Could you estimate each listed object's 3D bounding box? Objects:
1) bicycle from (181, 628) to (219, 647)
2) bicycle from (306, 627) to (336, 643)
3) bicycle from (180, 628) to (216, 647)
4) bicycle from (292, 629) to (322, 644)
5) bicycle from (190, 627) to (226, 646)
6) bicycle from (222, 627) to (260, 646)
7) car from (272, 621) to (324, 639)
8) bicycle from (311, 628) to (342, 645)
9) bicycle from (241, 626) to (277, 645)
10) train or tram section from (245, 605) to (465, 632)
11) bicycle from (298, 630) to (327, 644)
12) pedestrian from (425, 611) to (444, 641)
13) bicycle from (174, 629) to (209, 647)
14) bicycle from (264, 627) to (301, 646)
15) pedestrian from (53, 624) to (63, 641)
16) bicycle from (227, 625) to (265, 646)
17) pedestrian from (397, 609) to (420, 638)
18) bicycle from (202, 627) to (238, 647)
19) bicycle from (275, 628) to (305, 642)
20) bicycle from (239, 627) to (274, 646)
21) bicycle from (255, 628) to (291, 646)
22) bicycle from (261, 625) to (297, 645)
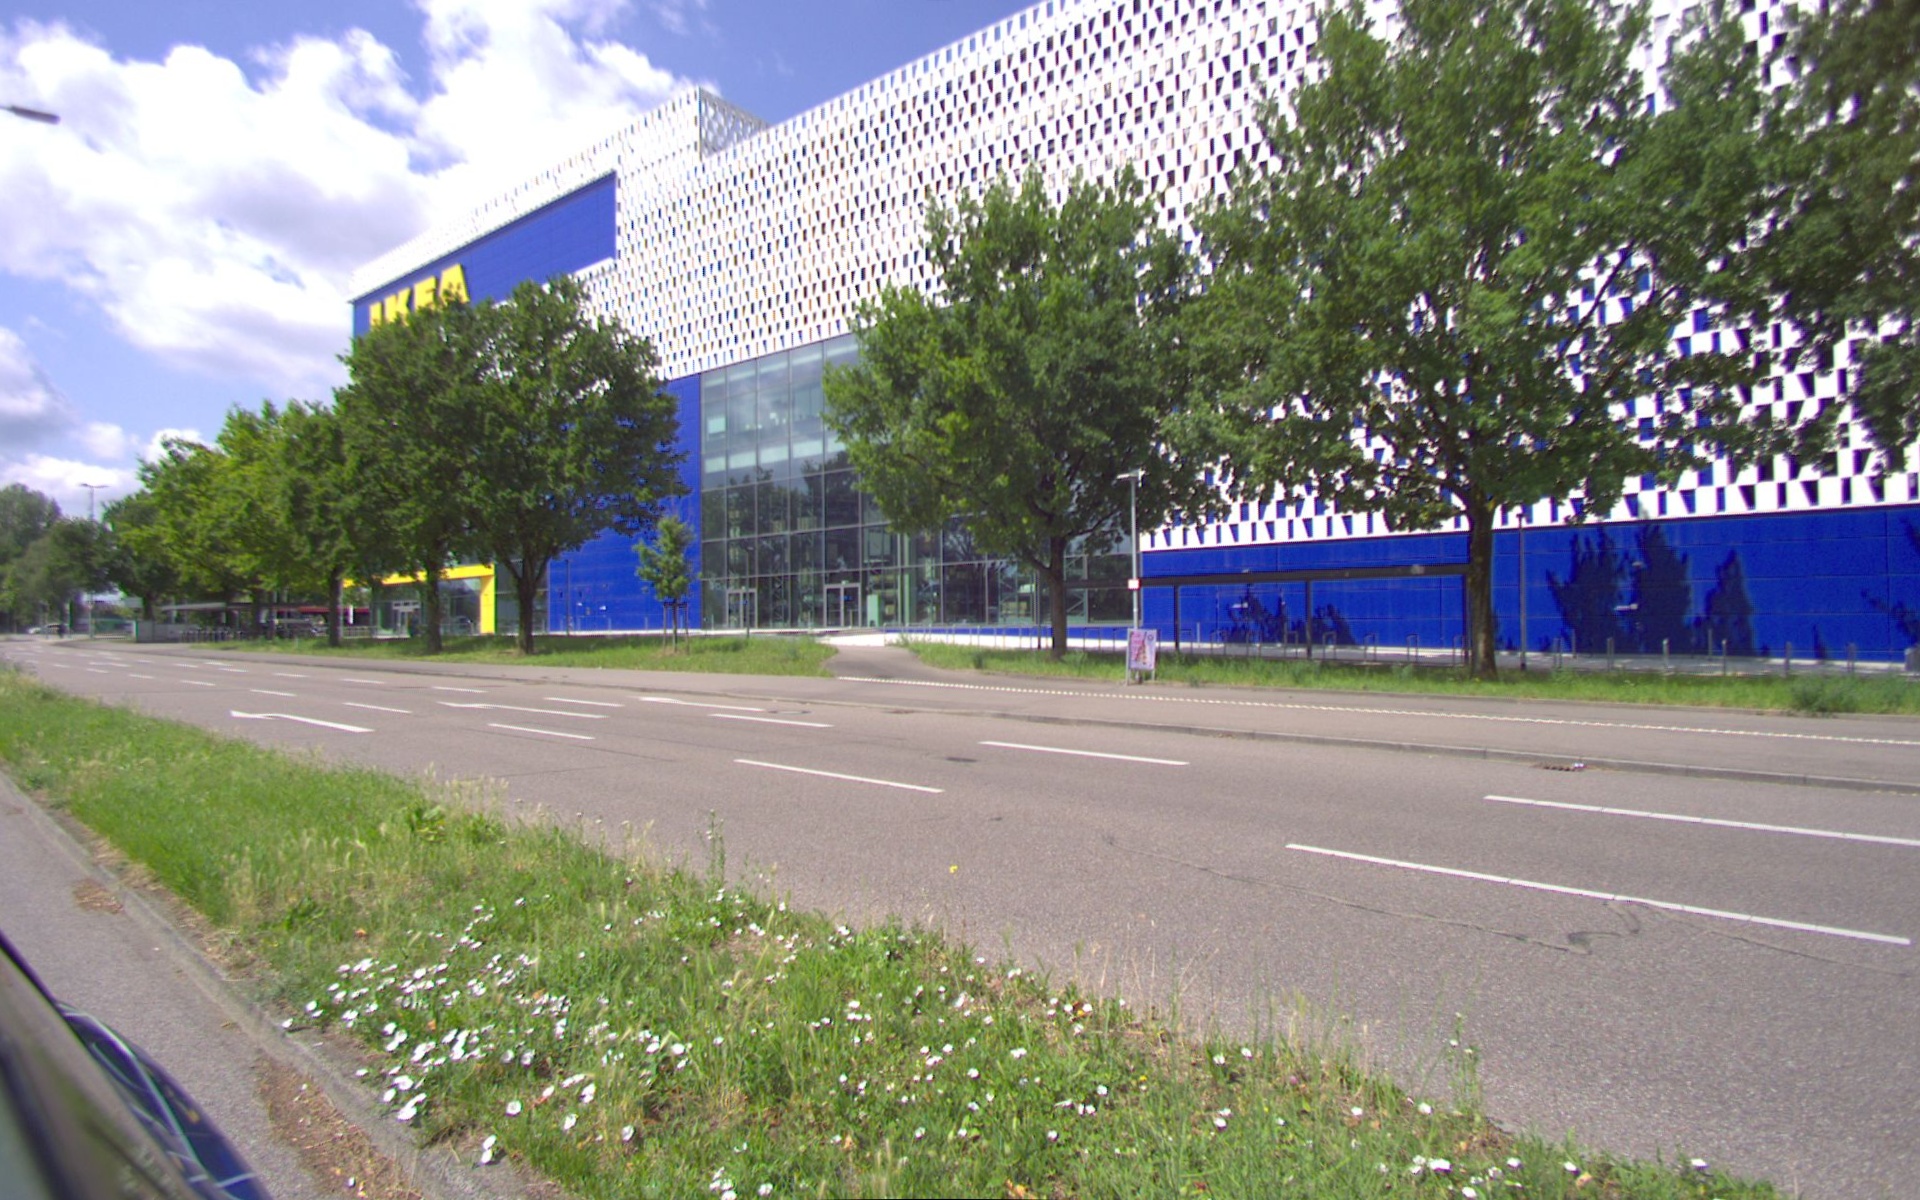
[{"bbox_3d":[-53.179,2.640,70.843,0.629,1.282,2.068,-3,-2,39],"label":"bicycle"},{"bbox_3d":[-49.544,2.716,78.478,0.528,1.219,1.917,-1,-1,35],"label":"bicycle"},{"bbox_3d":[-53.925,2.665,71.631,0.629,1.282,1.906,-3,-2,39],"label":"bicycle"},{"bbox_3d":[-51.657,2.897,80.066,0.519,1.098,1.913,-3,-2,35],"label":"bicycle"},{"bbox_3d":[-52.130,2.545,70.207,0.629,1.282,1.906,-3,-2,39],"label":"bicycle"},{"bbox_3d":[-46.574,2.372,65.555,0.629,1.192,1.906,-3,-2,39],"label":"bicycle"},{"bbox_3d":[-77.220,3.478,118.088,1.996,2.029,4.764,-3,-2,36],"label":"car"},{"bbox_3d":[-48.776,2.795,77.931,0.596,1.253,1.928,-1,-1,35],"label":"bicycle"},{"bbox_3d":[-48.256,2.442,69.662,0.629,1.282,1.906,-3,-2,39],"label":"bicycle"},{"bbox_3d":[-78.186,2.563,132.322,4.524,3.055,24.808,-2,-3,38],"label":"train or tram section"},{"bbox_3d":[-50.778,2.872,79.382,0.528,1.078,1.917,-1,-1,35],"label":"bicycle"},{"bbox_3d":[-31.972,1.572,61.584,0.886,1.836,0.746,-2,-1,40],"label":"pedestrian"},{"bbox_3d":[-54.985,2.714,72.457,0.629,1.282,1.906,-3,-2,39],"label":"bicycle"},{"bbox_3d":[-44.548,2.401,66.579,0.629,1.193,1.906,-3,-2,39],"label":"bicycle"},{"bbox_3d":[-82.924,2.970,93.019,0.616,1.502,0.435,-1,-1,23],"label":"pedestrian"},{"bbox_3d":[-45.750,2.281,64.839,0.629,1.282,1.906,-3,-2,39],"label":"bicycle"},{"bbox_3d":[-32.799,1.391,60.144,0.886,1.715,0.940,-2,-1,39],"label":"pedestrian"},{"bbox_3d":[-50.266,2.513,68.741,0.629,1.282,1.906,-3,-2,39],"label":"bicycle"},{"bbox_3d":[-54.021,2.809,81.597,0.528,1.078,1.917,-1,-1,35],"label":"bicycle"},{"bbox_3d":[-48.944,2.528,70.410,0.629,1.282,1.906,-3,-2,39],"label":"bicycle"},{"bbox_3d":[-46.091,2.473,67.916,0.629,1.188,1.906,-3,-2,39],"label":"bicycle"},{"bbox_3d":[-45.229,2.325,67.246,0.629,1.282,1.906,-3,-2,39],"label":"bicycle"}]
